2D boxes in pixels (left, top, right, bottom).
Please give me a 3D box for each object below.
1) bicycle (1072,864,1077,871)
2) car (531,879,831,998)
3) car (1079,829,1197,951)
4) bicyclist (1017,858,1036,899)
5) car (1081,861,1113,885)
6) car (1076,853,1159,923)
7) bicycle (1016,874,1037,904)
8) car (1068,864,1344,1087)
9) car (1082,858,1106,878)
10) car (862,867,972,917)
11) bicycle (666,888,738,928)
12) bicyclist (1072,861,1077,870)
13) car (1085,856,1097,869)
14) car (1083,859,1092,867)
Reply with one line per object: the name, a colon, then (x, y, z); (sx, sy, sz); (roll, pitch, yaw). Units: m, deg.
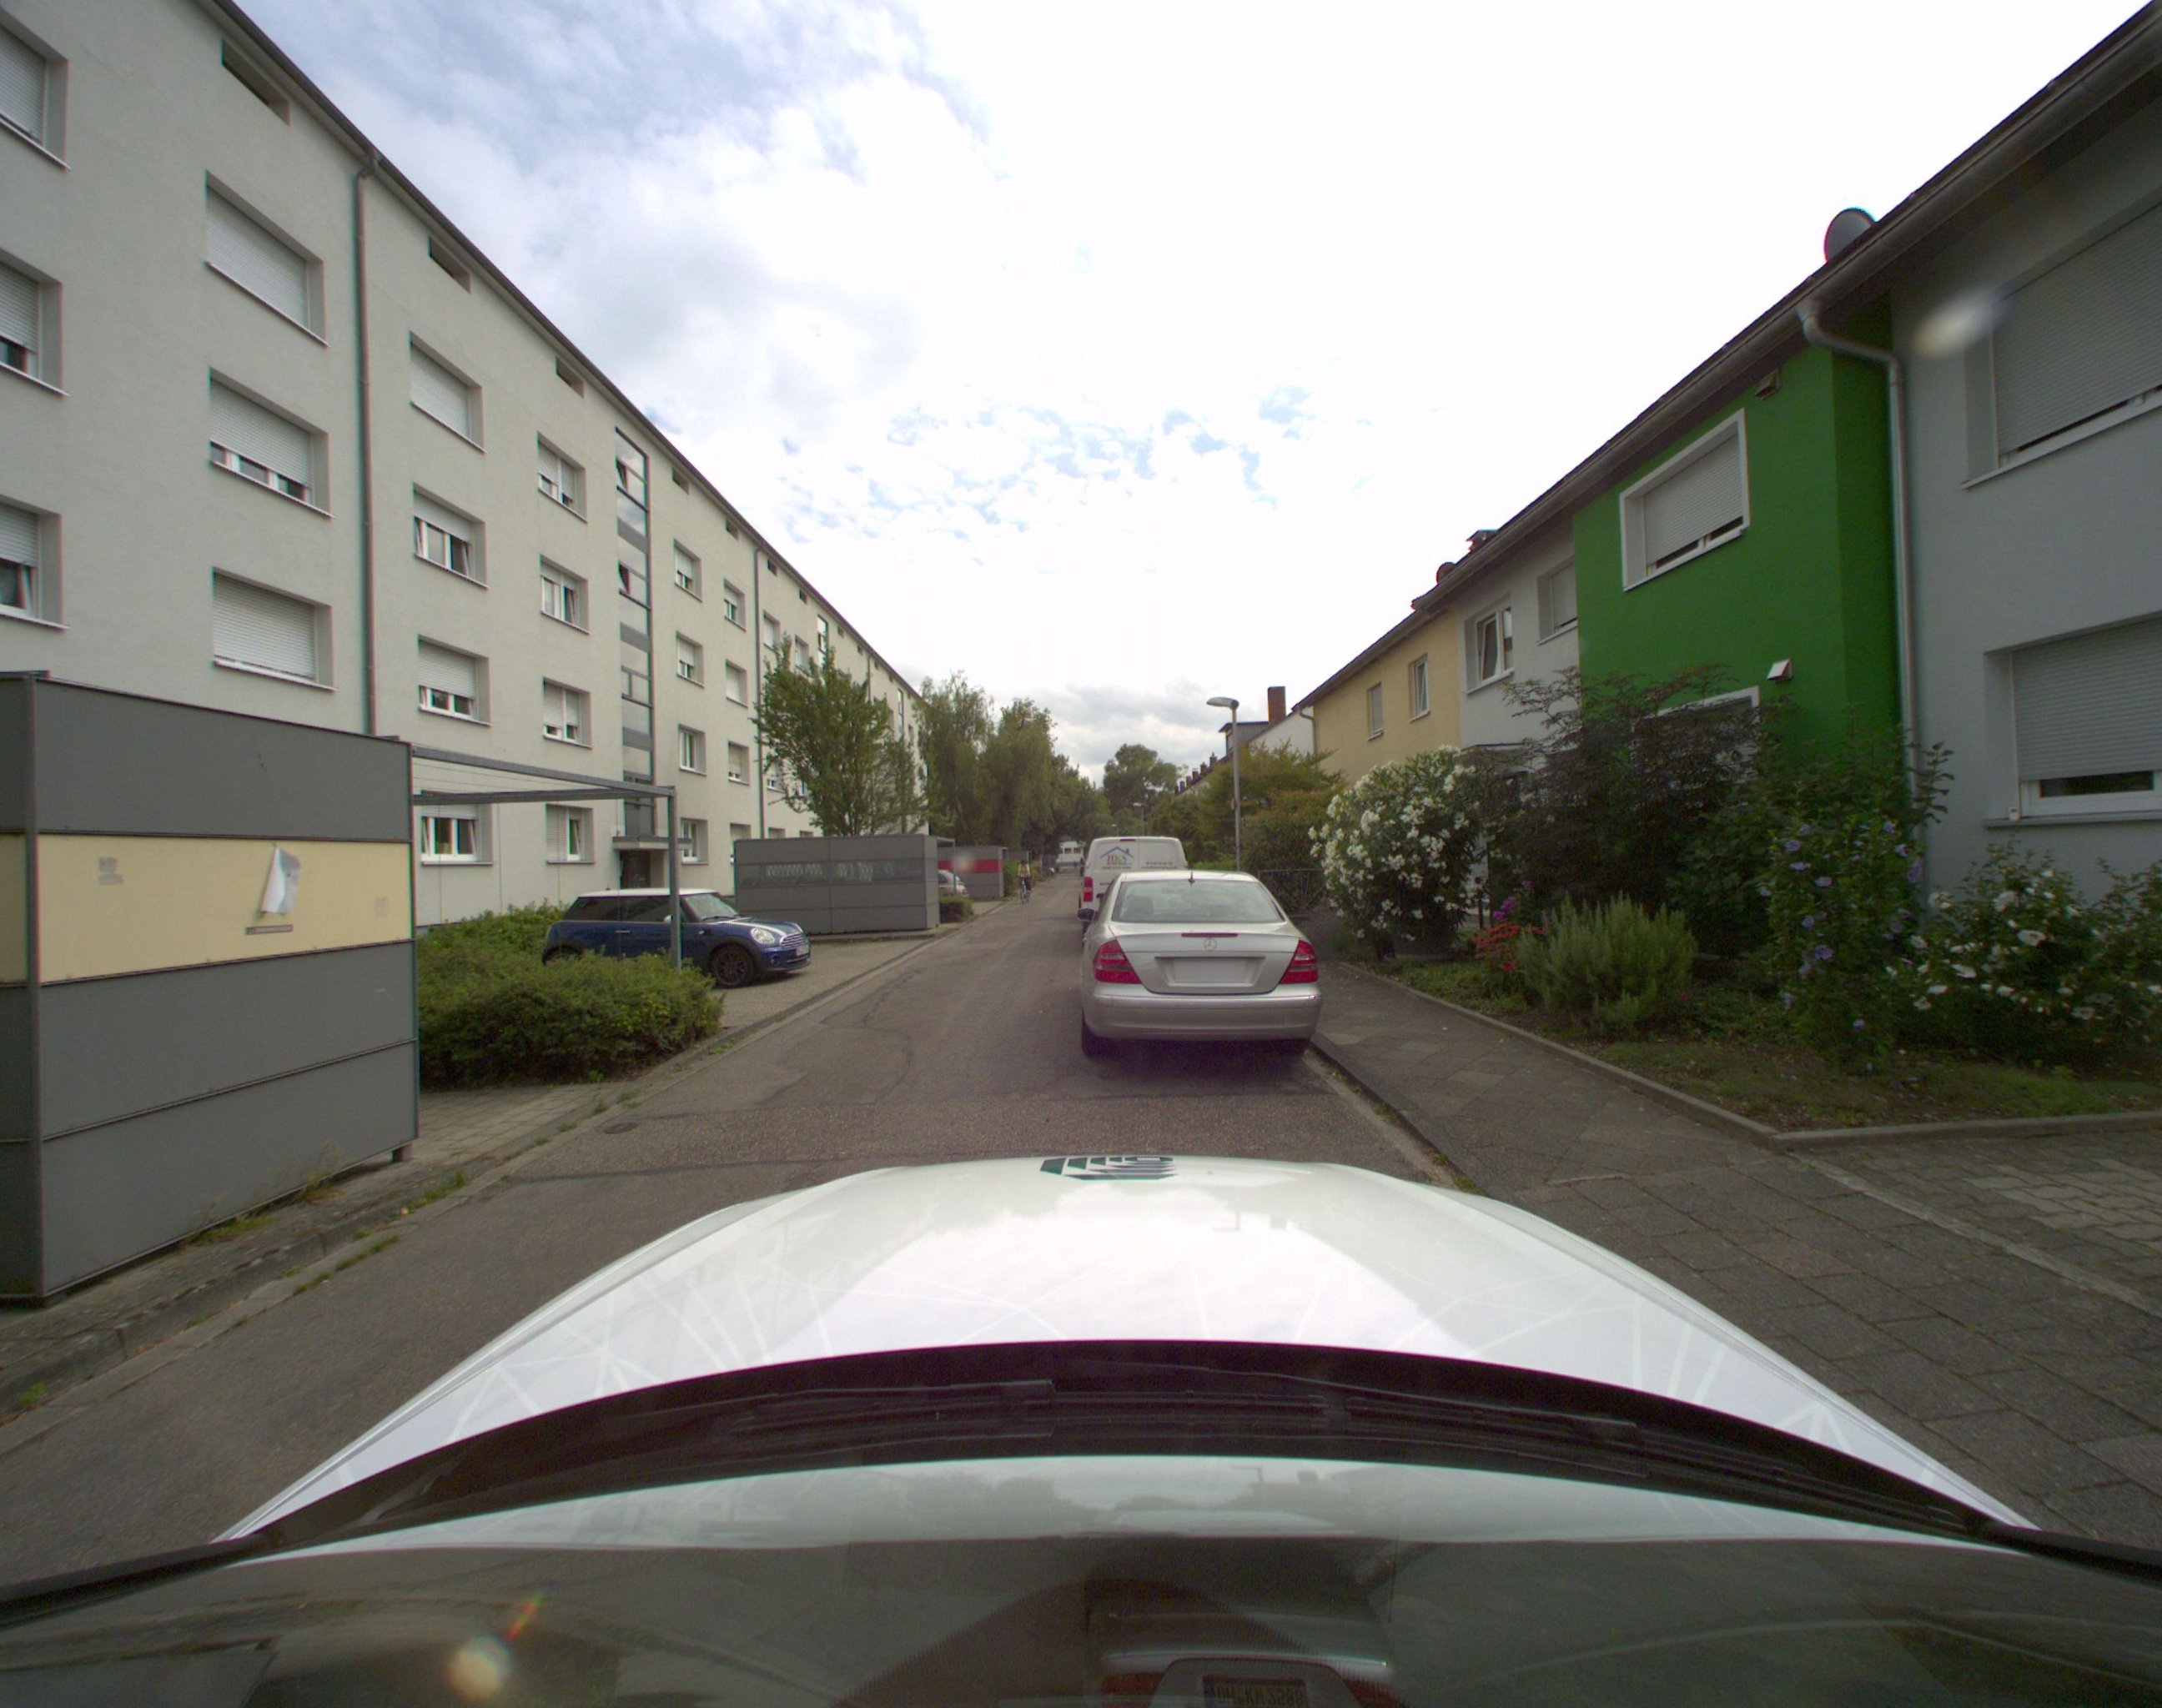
bicycle: (-1.034, 2.268, 137.831); (0.686, 1.131, 2.580); (0, -1, 2)
car: (-5.890, 1.214, 12.261); (3.619, 1.461, 1.654); (-3, -1, 3)
car: (0.931, 0.612, 15.925); (1.898, 1.964, 5.252); (-1, -1, 0)
bicyclist: (-2.144, 0.954, 32.141); (0.595, 1.581, 0.767); (-3, -1, 1)
car: (0.966, 1.124, 49.148); (1.819, 1.370, 4.331); (0, 0, 1)
car: (0.873, 0.830, 21.584); (1.820, 1.636, 4.158); (-1, -1, -3)
bicycle: (-2.127, 1.342, 32.054); (0.595, 1.076, 2.043); (-3, -1, 2)
car: (0.886, 0.818, 7.546); (1.777, 1.421, 4.457); (-1, -1, 2)
car: (1.072, 1.130, 67.894); (1.820, 1.581, 3.998); (0, 0, -1)
car: (-5.798, 1.329, 29.122); (3.555, 1.480, 1.708); (-3, 0, -5)
bicycle: (-10.993, 1.560, 23.658); (1.820, 1.024, 0.473); (-2, -1, -41)
bicyclist: (-1.046, 1.946, 137.813); (0.795, 1.511, 0.934); (0, -1, 2)
car: (1.513, 1.300, 124.575); (1.819, 1.883, 4.000); (0, 0, 1)
car: (1.278, 1.759, 165.530); (1.819, 1.581, 4.000); (0, 0, 1)
